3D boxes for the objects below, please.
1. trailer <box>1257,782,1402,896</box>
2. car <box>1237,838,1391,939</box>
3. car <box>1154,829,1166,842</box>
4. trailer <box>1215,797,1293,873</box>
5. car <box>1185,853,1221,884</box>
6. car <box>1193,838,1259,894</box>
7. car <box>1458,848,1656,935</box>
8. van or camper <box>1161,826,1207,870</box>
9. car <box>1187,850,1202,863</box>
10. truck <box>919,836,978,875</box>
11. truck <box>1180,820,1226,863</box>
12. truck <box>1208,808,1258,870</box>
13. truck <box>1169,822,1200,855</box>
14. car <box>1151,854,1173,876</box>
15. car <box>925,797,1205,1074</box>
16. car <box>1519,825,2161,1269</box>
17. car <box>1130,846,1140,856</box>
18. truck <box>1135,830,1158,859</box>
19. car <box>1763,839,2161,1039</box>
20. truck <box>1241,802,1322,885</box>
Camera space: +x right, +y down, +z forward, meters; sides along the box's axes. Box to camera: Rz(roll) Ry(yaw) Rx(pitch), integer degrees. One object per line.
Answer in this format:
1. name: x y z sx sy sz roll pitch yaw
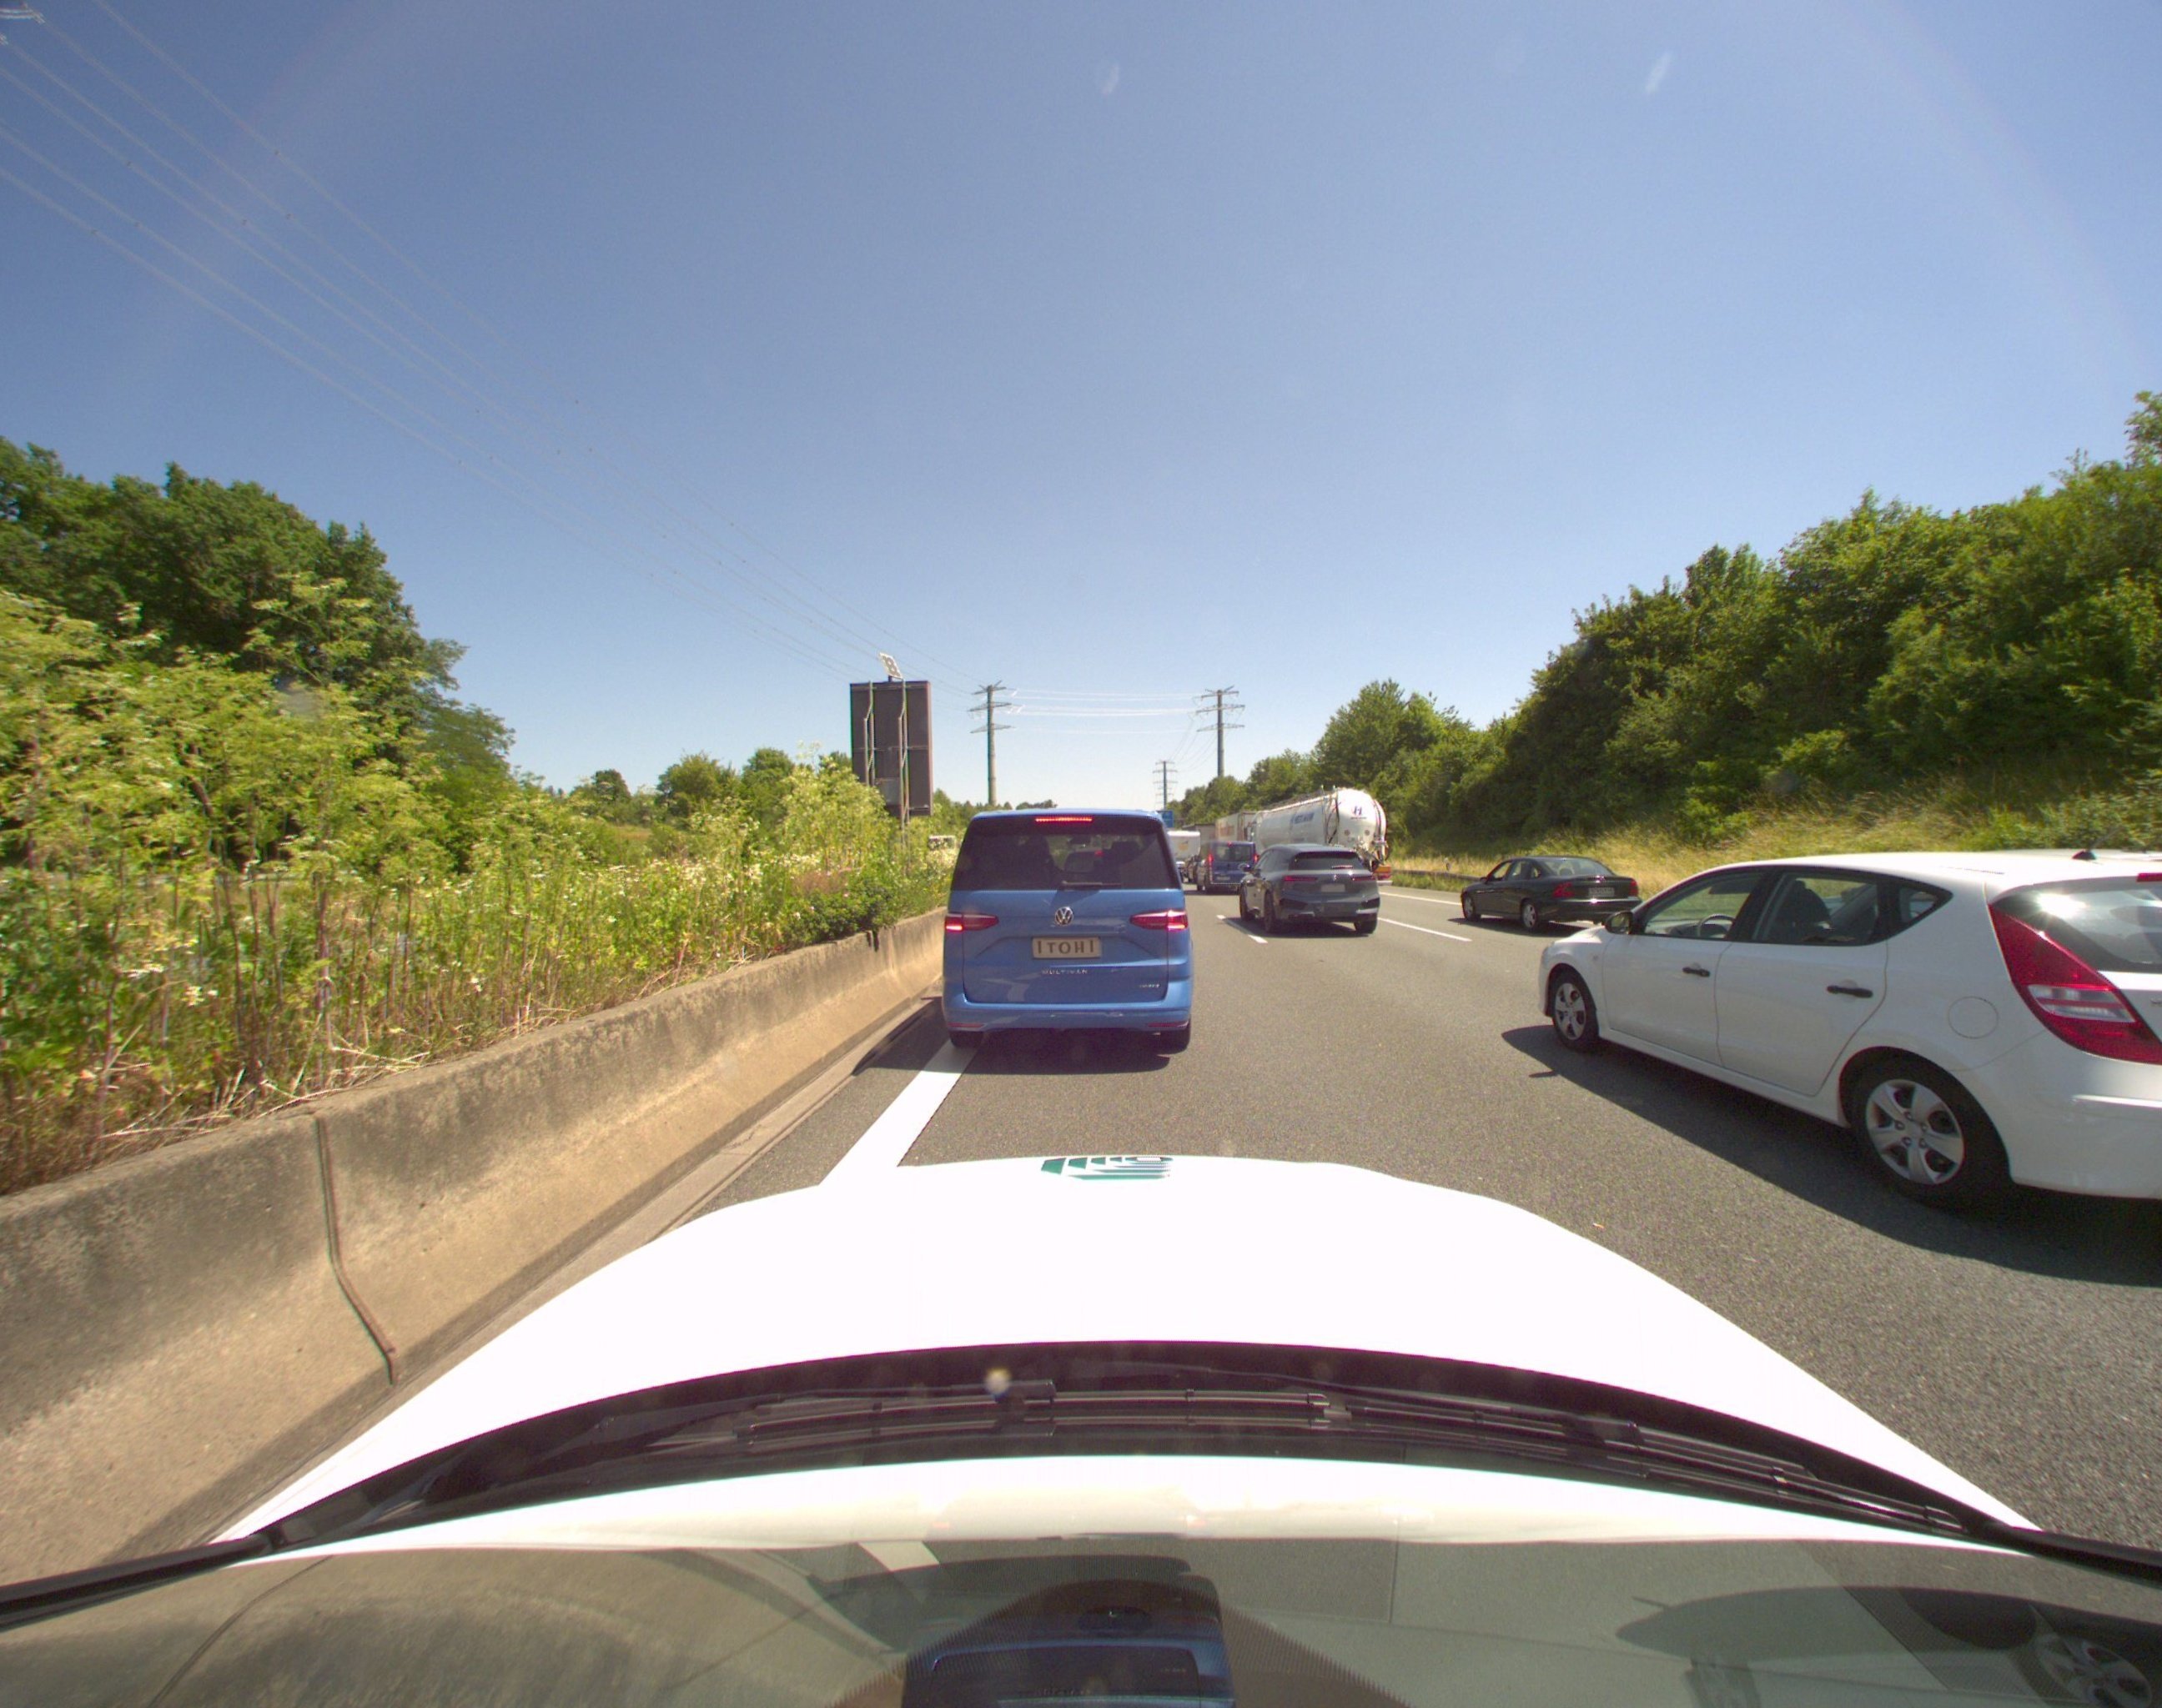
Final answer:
1. trailer: 9.802 -0.510 33.804 2.751 3.845 11.491 -2 0 2
2. car: 4.528 0.640 16.627 1.991 1.715 4.628 -2 -1 3
3. car: 13.660 -3.151 140.919 1.985 2.014 4.002 -1 -1 2
4. trailer: 11.331 -1.117 54.676 2.901 4.469 12.159 -1 0 2
5. car: 6.115 0.722 41.167 1.355 1.420 3.887 -2 -1 3
6. car: 5.491 0.459 31.269 1.915 1.925 4.238 -2 -1 3
7. car: 9.047 0.667 15.891 1.634 1.416 3.992 -2 -1 3
8. van or camper: 7.589 -0.384 60.731 2.944 3.022 7.109 -1 -1 4
9. car: 18.064 0.468 129.517 1.986 2.014 4.001 -1 -1 2
10. truck: -11.916 0.139 74.679 2.753 3.288 11.830 -1 0 3
11. truck: 11.783 -1.028 80.351 2.993 3.766 15.725 -1 0 3
12. truck: 11.576 -1.124 62.431 2.901 4.469 5.144 -1 0 2
13. truck: 12.908 -1.817 102.714 2.883 3.766 13.355 -1 0 3
14. car: 7.628 1.032 76.800 1.828 1.998 4.004 -2 -1 4
15. car: -0.025 0.548 7.568 1.912 1.886 4.002 0 0 2
16. car: 4.432 0.654 4.703 1.809 1.485 4.004 -2 -1 3
17. car: 11.984 -0.731 180.534 1.986 2.126 4.001 -1 -1 2
18. truck: 9.053 -1.250 113.568 2.883 3.766 10.148 -1 -1 3
19. car: 8.905 0.609 7.642 1.724 1.443 4.030 -2 0 2
20. truck: 10.021 -0.491 41.200 2.782 3.836 5.574 -2 0 2
